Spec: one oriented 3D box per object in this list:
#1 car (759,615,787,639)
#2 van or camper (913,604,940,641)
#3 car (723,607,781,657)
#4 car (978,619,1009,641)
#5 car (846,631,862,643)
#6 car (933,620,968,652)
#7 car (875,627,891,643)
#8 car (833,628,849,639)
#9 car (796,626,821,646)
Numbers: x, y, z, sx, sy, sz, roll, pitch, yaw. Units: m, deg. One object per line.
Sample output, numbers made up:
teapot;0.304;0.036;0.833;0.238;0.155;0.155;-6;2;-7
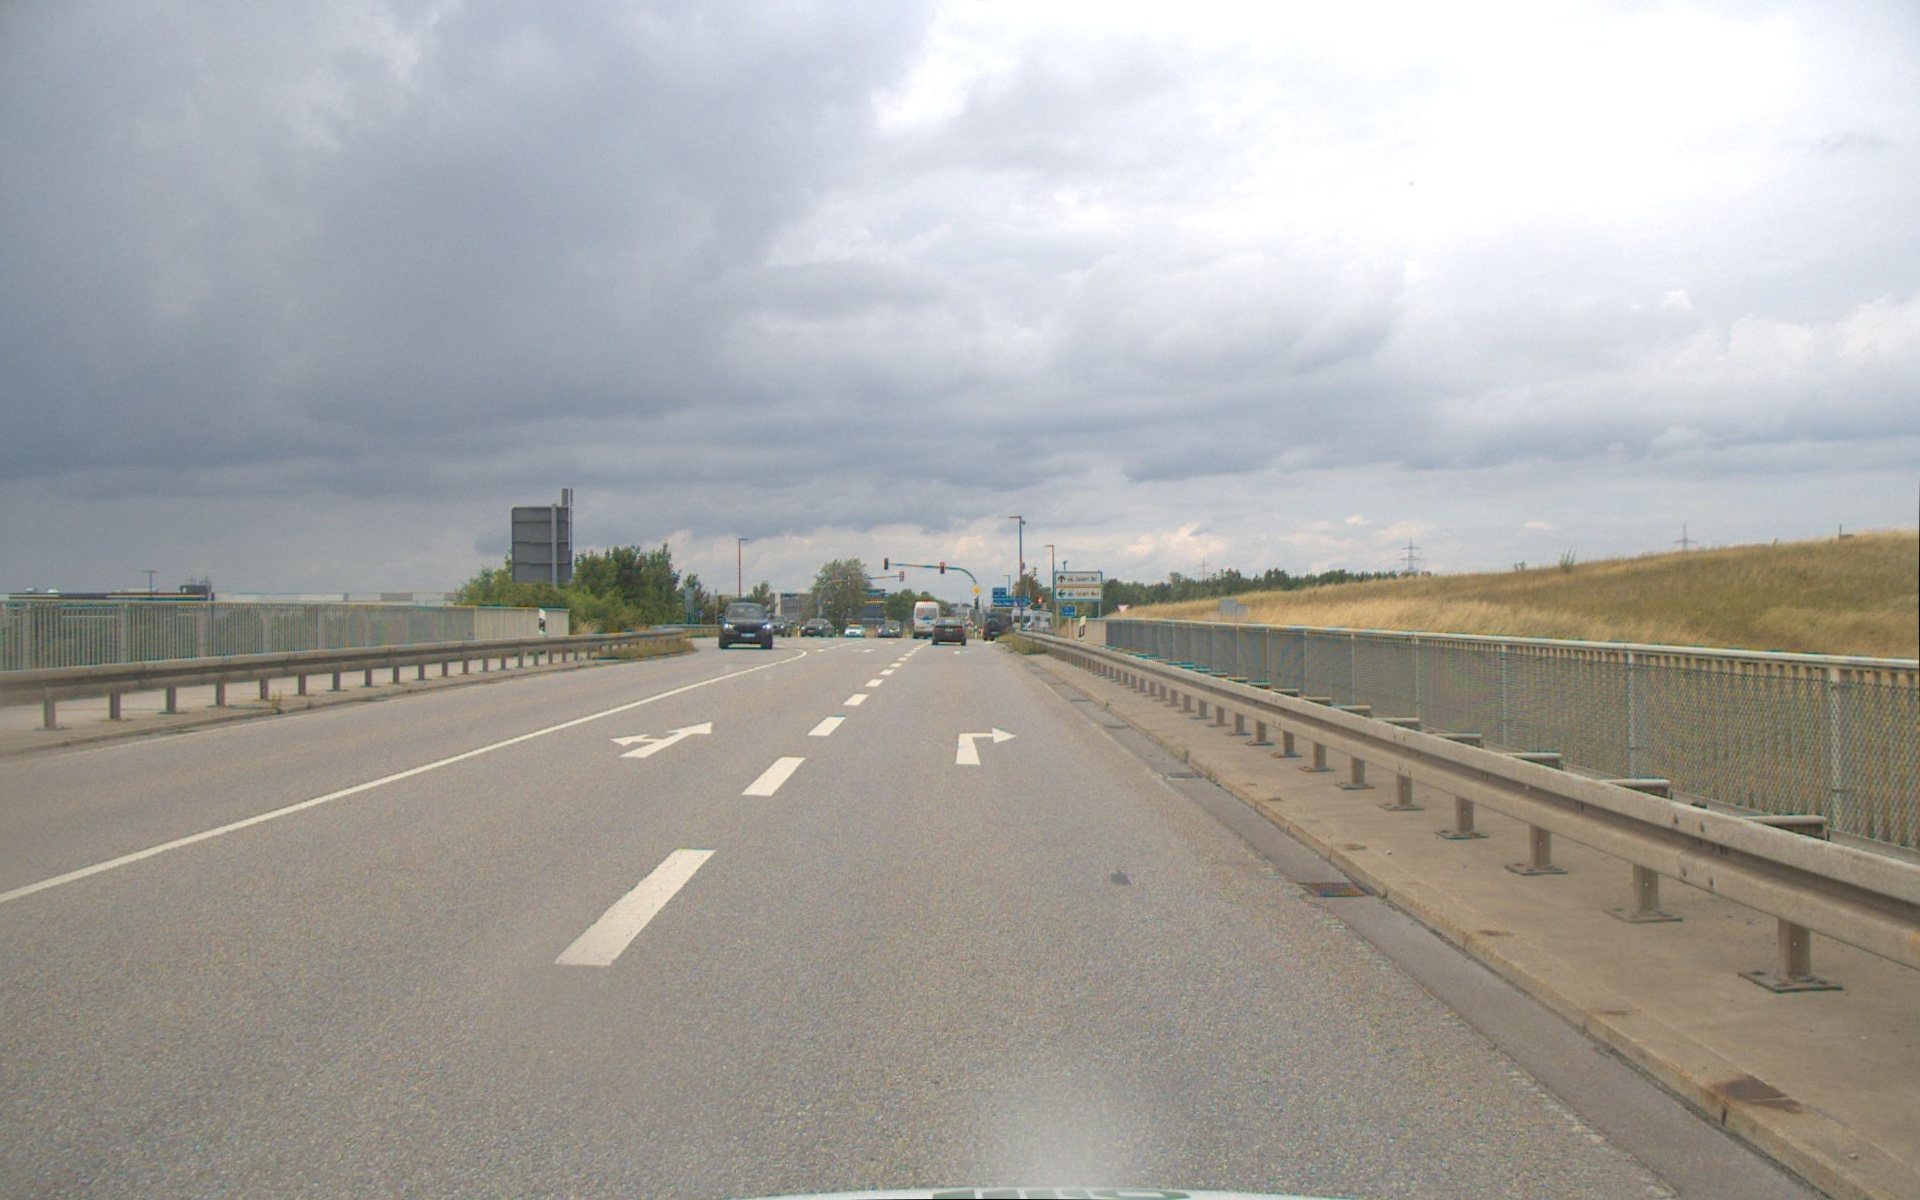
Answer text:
car;-13.161;1.911;116.689;1.550;1.585;4.145;1;-1;-1
van or camper;-2.399;1.644;119.681;1.838;2.626;3.999;1;-1;0
car;-7.981;1.233;63.875;1.954;1.762;4.757;2;-1;-5
car;2.388;2.142;118.493;1.646;1.571;3.618;0;-1;10
car;-11.444;3.981;178.774;1.450;1.305;3.533;0;-1;1
car;-0.427;1.739;80.682;1.486;1.511;3.616;0;-1;3
car;-8.217;3.753;177.059;1.659;1.392;3.943;0;2;-2
car;-13.462;3.778;186.779;1.450;1.305;3.533;0;-1;1
car;-12.078;2.846;132.081;1.772;1.392;4.784;0;1;-2
